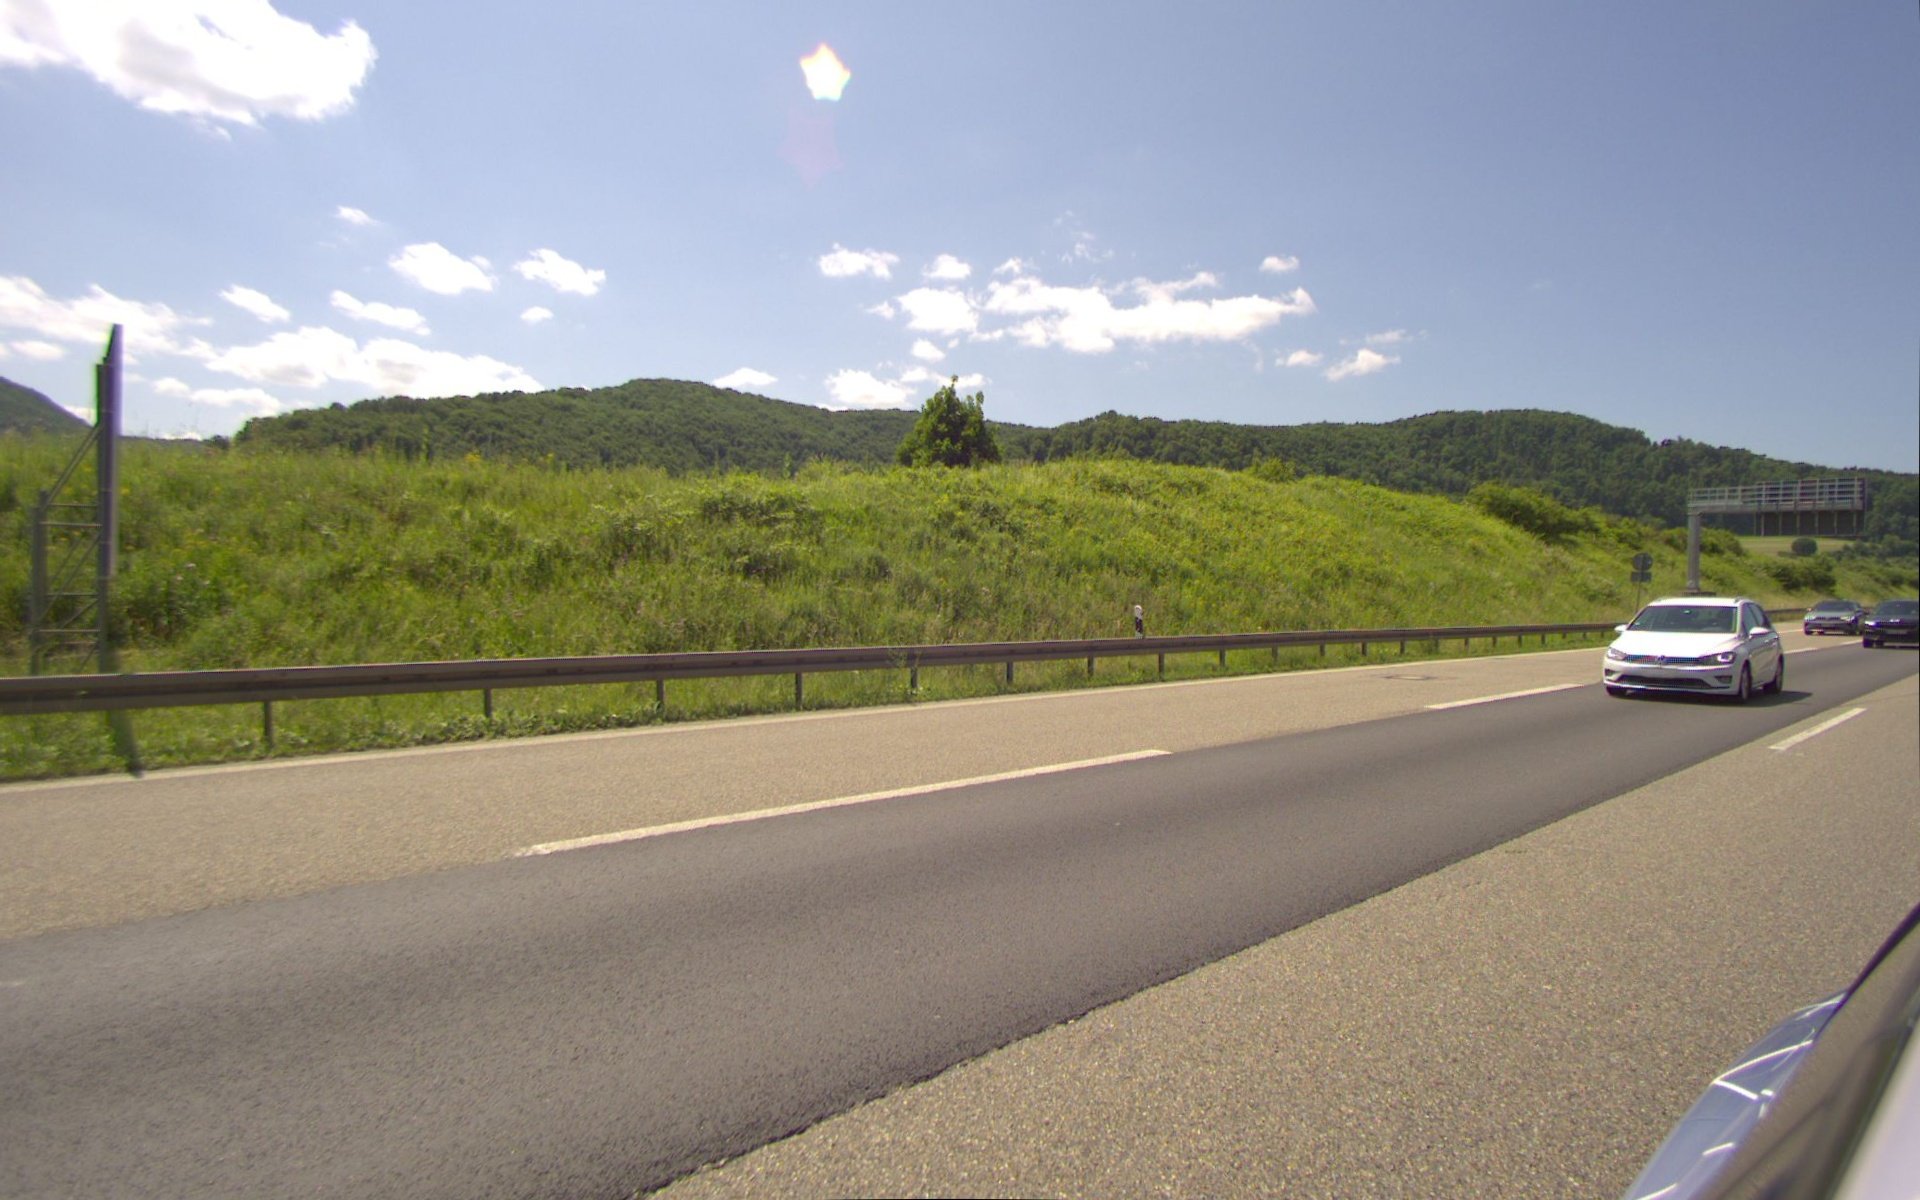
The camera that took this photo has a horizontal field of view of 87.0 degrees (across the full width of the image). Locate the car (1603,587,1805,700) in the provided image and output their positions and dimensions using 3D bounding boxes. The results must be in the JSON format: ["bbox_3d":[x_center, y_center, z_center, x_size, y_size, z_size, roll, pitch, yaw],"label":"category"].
[{"bbox_3d":[11.816,0.584,15.985,3.984,1.560,1.775,0,0,-41],"label":"car"}]

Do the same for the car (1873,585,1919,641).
[{"bbox_3d":[32.553,0.426,34.228,4.097,1.794,1.893,0,1,-40],"label":"car"}]

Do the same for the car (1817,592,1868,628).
[{"bbox_3d":[41.209,0.427,47.219,1.679,1.615,4.183,1,1,43],"label":"car"}]
